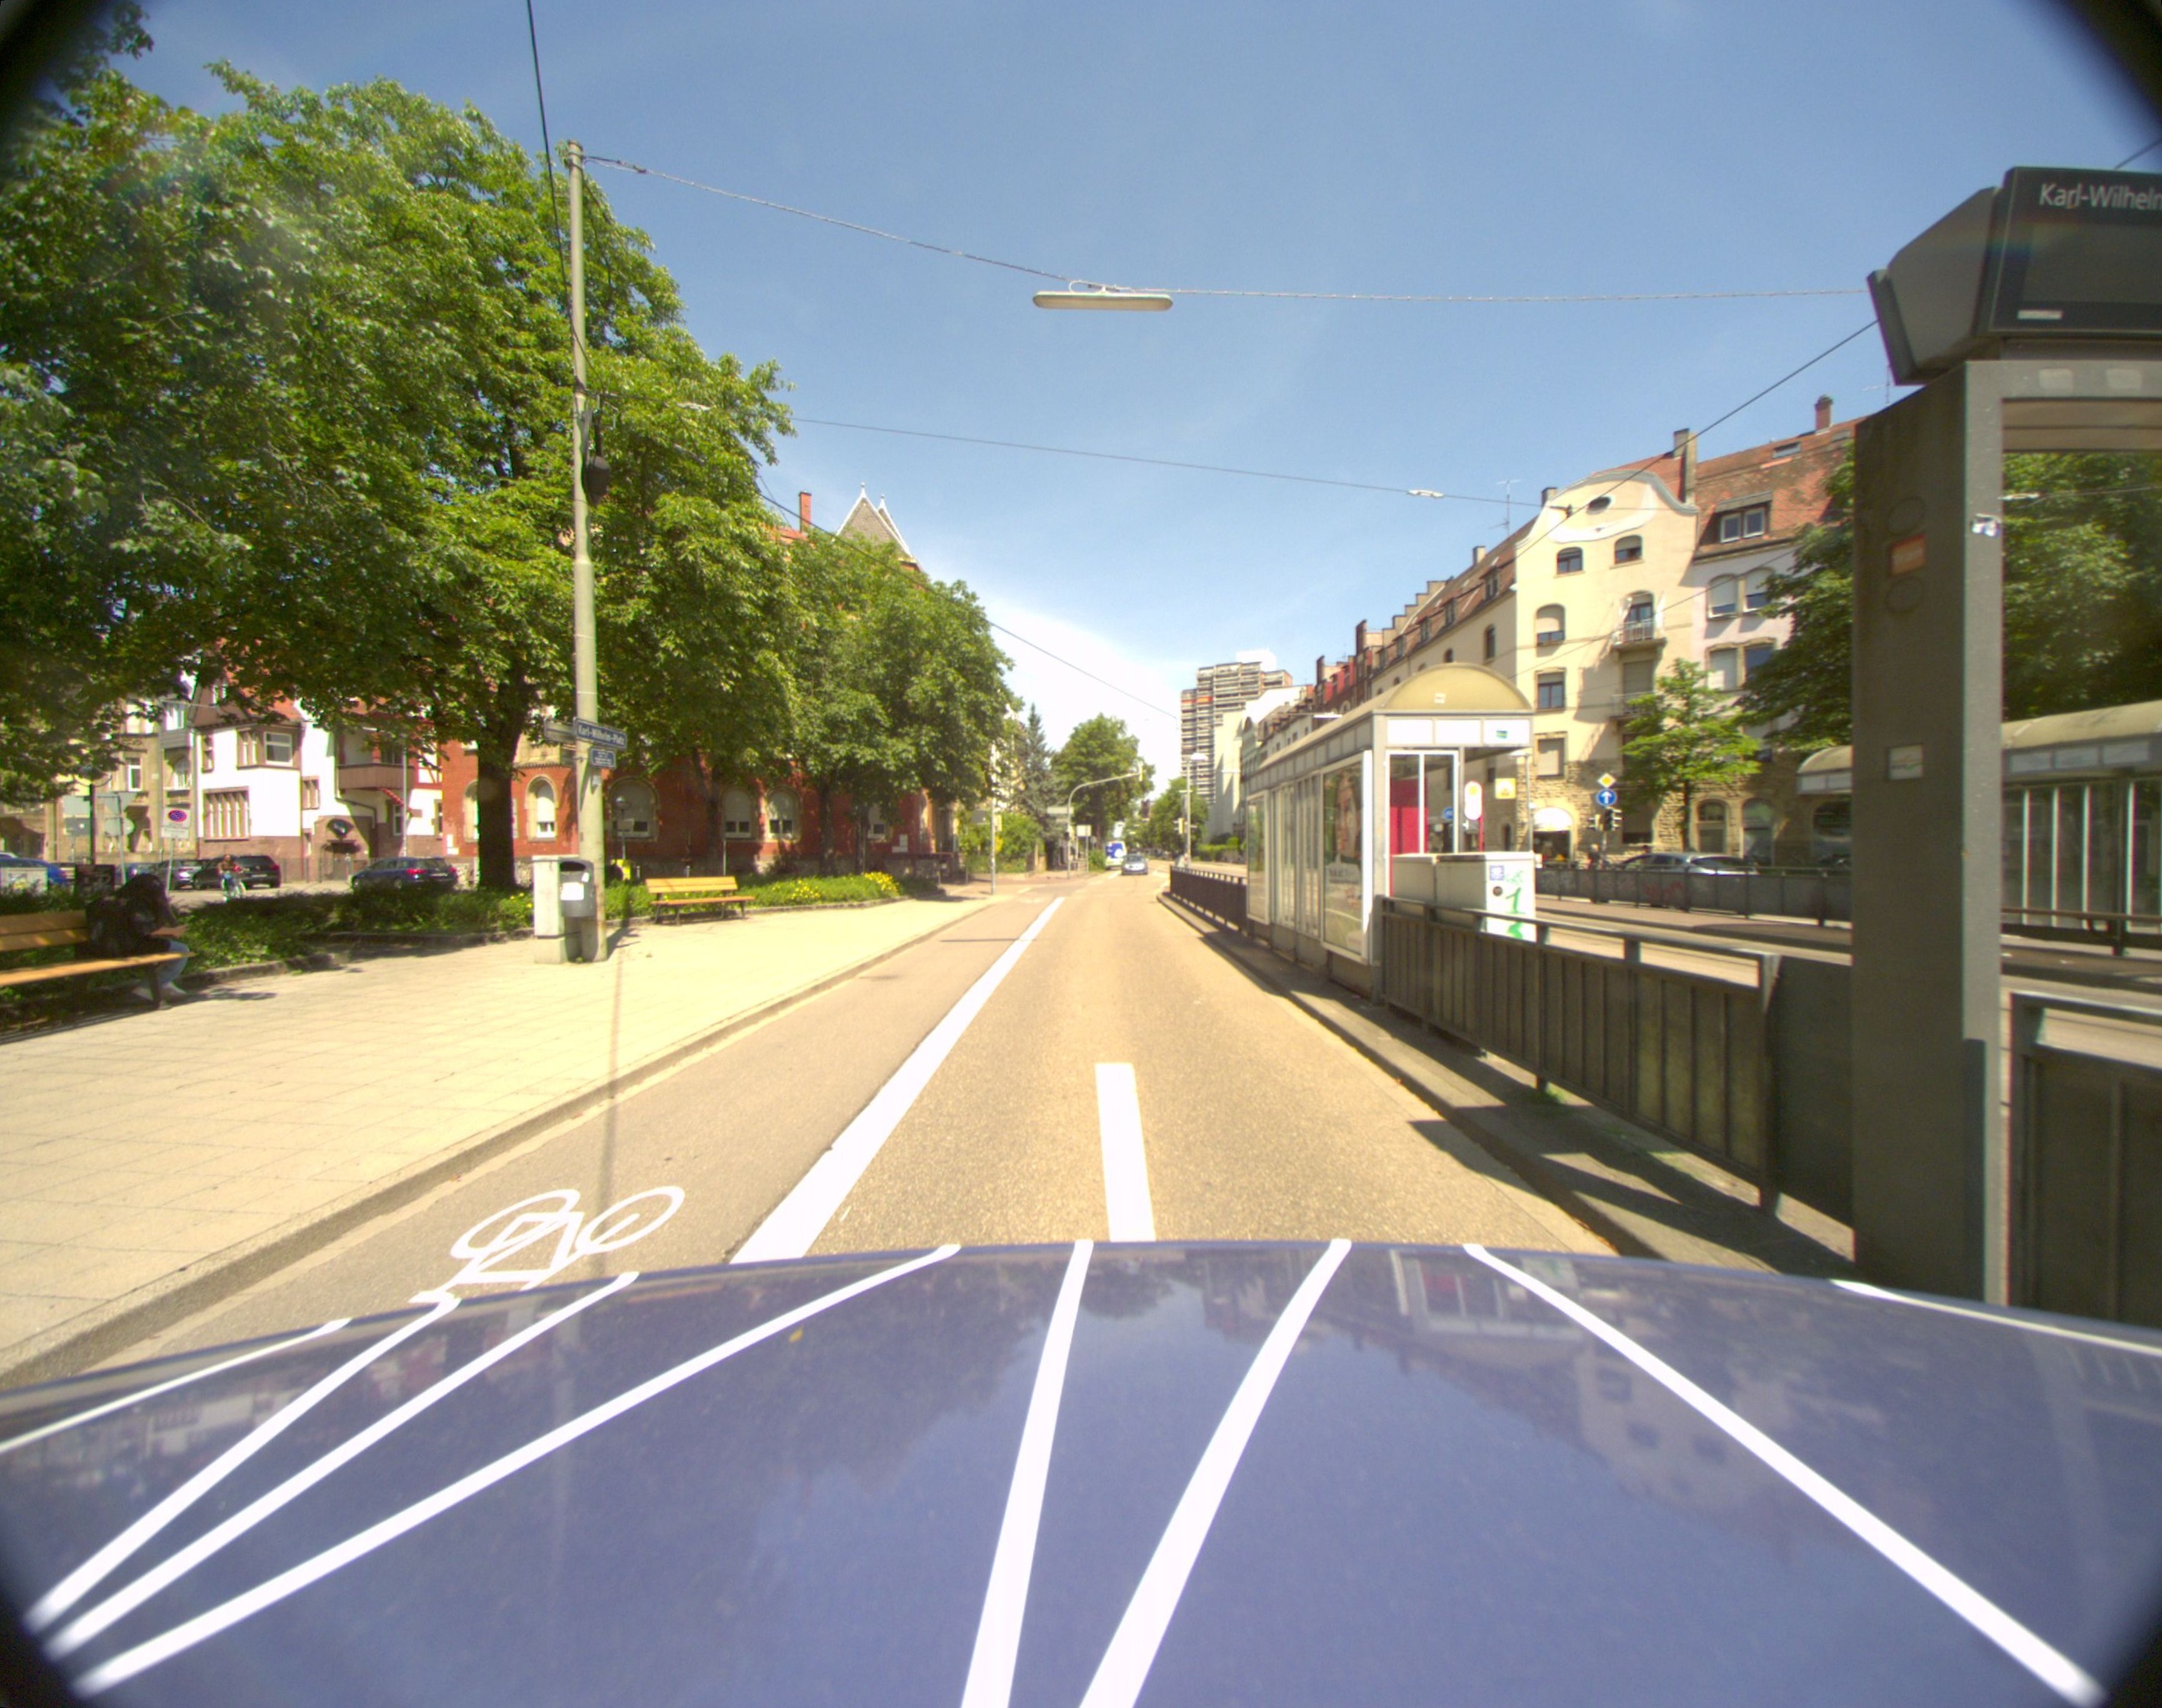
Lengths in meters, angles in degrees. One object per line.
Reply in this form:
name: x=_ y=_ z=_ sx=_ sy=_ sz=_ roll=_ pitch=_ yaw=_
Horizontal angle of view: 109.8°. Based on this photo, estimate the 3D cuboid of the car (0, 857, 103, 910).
car: x=-32.934 y=0.896 z=22.644 sx=1.641 sy=1.554 sz=4.326 roll=0 pitch=1 yaw=22

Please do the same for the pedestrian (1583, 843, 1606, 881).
pedestrian: x=19.913 y=0.308 z=29.465 sx=0.537 sy=1.433 sz=0.520 roll=0 pitch=1 yaw=-8

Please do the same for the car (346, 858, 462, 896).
car: x=-27.422 y=0.895 z=30.782 sx=4.309 sy=1.444 sz=1.647 roll=0 pitch=1 yaw=20

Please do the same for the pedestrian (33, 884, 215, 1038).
pedestrian: x=-7.805 y=0.841 z=6.234 sx=0.652 sy=1.143 sz=0.642 roll=-1 pitch=1 yaw=-15

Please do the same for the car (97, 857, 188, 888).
car: x=-49.464 y=0.934 z=40.057 sx=4.235 sy=1.554 sz=1.706 roll=0 pitch=1 yaw=20

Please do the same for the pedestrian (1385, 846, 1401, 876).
pedestrian: x=17.927 y=0.373 z=43.647 sx=0.808 sy=1.710 sz=0.764 roll=0 pitch=1 yaw=17

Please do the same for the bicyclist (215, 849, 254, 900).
bicyclist: x=-27.176 y=0.649 z=24.401 sx=0.860 sy=1.614 sz=0.641 roll=0 pitch=1 yaw=31

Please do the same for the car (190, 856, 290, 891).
car: x=-39.931 y=0.907 z=36.076 sx=4.235 sy=1.554 sz=1.706 roll=0 pitch=1 yaw=20

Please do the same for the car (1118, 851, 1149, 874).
car: x=3.581 y=0.537 z=52.424 sx=1.737 sy=1.543 sz=4.423 roll=0 pitch=0 yaw=-1

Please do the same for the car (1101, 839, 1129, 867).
car: x=3.064 y=-0.139 z=69.459 sx=2.237 sy=2.478 sz=5.265 roll=0 pitch=1 yaw=-1

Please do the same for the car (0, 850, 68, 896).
car: x=-37.459 y=0.647 z=25.191 sx=1.641 sy=1.554 sz=4.326 roll=0 pitch=1 yaw=22

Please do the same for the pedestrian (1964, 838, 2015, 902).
pedestrian: x=20.740 y=0.349 z=17.349 sx=0.537 sy=1.433 sz=0.520 roll=0 pitch=1 yaw=-9

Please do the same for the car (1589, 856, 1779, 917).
car: x=14.698 y=0.735 z=18.820 sx=1.697 sy=1.302 sz=3.848 roll=0 pitch=1 yaw=1

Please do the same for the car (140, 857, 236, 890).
car: x=-44.624 y=0.963 z=37.977 sx=4.235 sy=1.554 sz=1.706 roll=0 pitch=1 yaw=20

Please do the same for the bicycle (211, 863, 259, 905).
bicycle: x=-27.174 y=0.954 z=24.399 sx=1.926 sy=1.285 sz=0.641 roll=0 pitch=1 yaw=31
